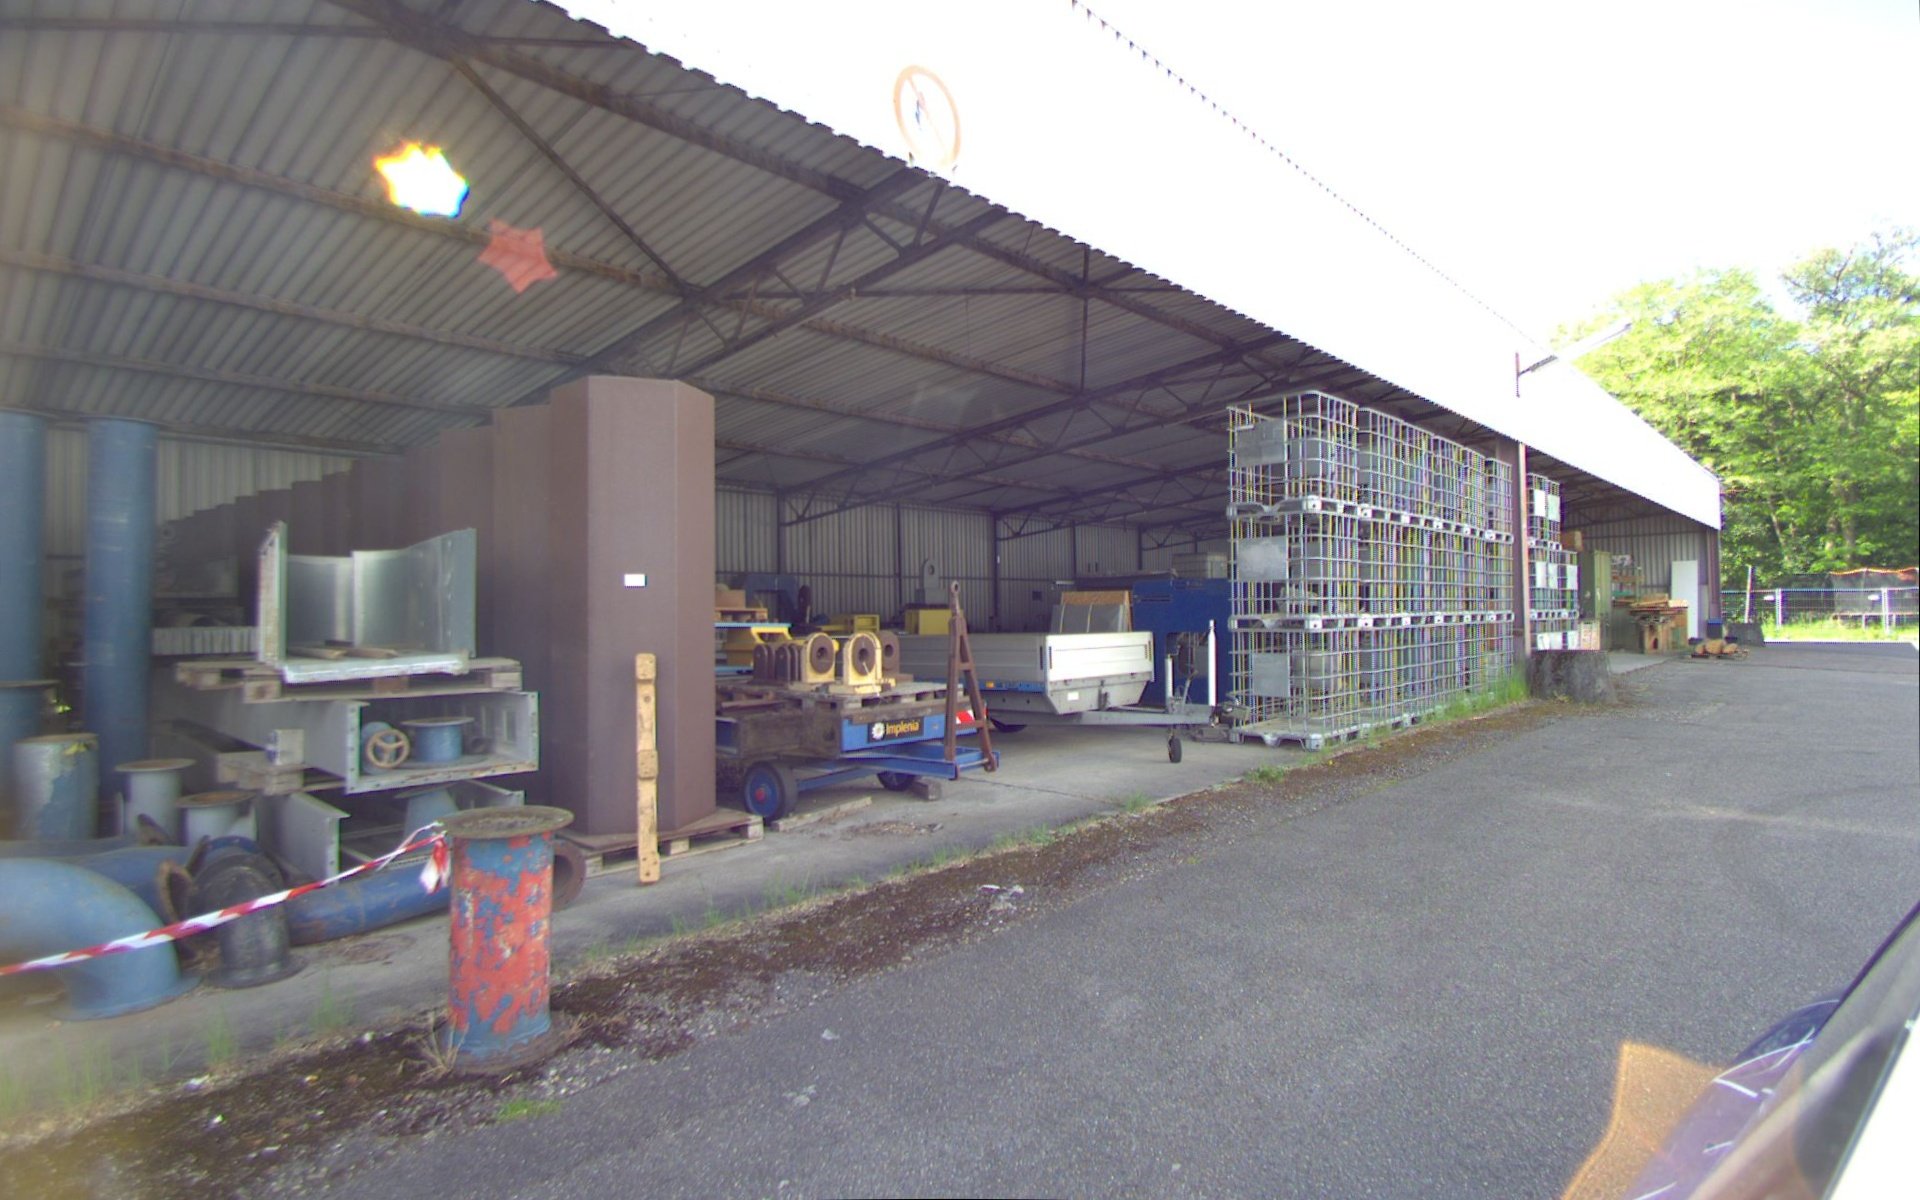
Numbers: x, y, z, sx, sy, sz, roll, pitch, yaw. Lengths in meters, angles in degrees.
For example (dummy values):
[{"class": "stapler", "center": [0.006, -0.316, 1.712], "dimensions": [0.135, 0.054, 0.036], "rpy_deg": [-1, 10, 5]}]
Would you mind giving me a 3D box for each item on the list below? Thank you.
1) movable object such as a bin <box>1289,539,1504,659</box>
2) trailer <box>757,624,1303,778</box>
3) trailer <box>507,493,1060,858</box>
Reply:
[{"class": "movable object such as a bin", "center": [10.925, -0.009, 25.510], "dimensions": [4.611, 2.757, 1.970], "rpy_deg": [0, -1, 42]}, {"class": "trailer", "center": [0.413, 0.853, 10.592], "dimensions": [5.729, 1.147, 1.978], "rpy_deg": [-1, -1, 42]}, {"class": "trailer", "center": [-1.689, 0.407, 8.067], "dimensions": [2.013, 2.022, 4.821], "rpy_deg": [0, 0, -44]}]
